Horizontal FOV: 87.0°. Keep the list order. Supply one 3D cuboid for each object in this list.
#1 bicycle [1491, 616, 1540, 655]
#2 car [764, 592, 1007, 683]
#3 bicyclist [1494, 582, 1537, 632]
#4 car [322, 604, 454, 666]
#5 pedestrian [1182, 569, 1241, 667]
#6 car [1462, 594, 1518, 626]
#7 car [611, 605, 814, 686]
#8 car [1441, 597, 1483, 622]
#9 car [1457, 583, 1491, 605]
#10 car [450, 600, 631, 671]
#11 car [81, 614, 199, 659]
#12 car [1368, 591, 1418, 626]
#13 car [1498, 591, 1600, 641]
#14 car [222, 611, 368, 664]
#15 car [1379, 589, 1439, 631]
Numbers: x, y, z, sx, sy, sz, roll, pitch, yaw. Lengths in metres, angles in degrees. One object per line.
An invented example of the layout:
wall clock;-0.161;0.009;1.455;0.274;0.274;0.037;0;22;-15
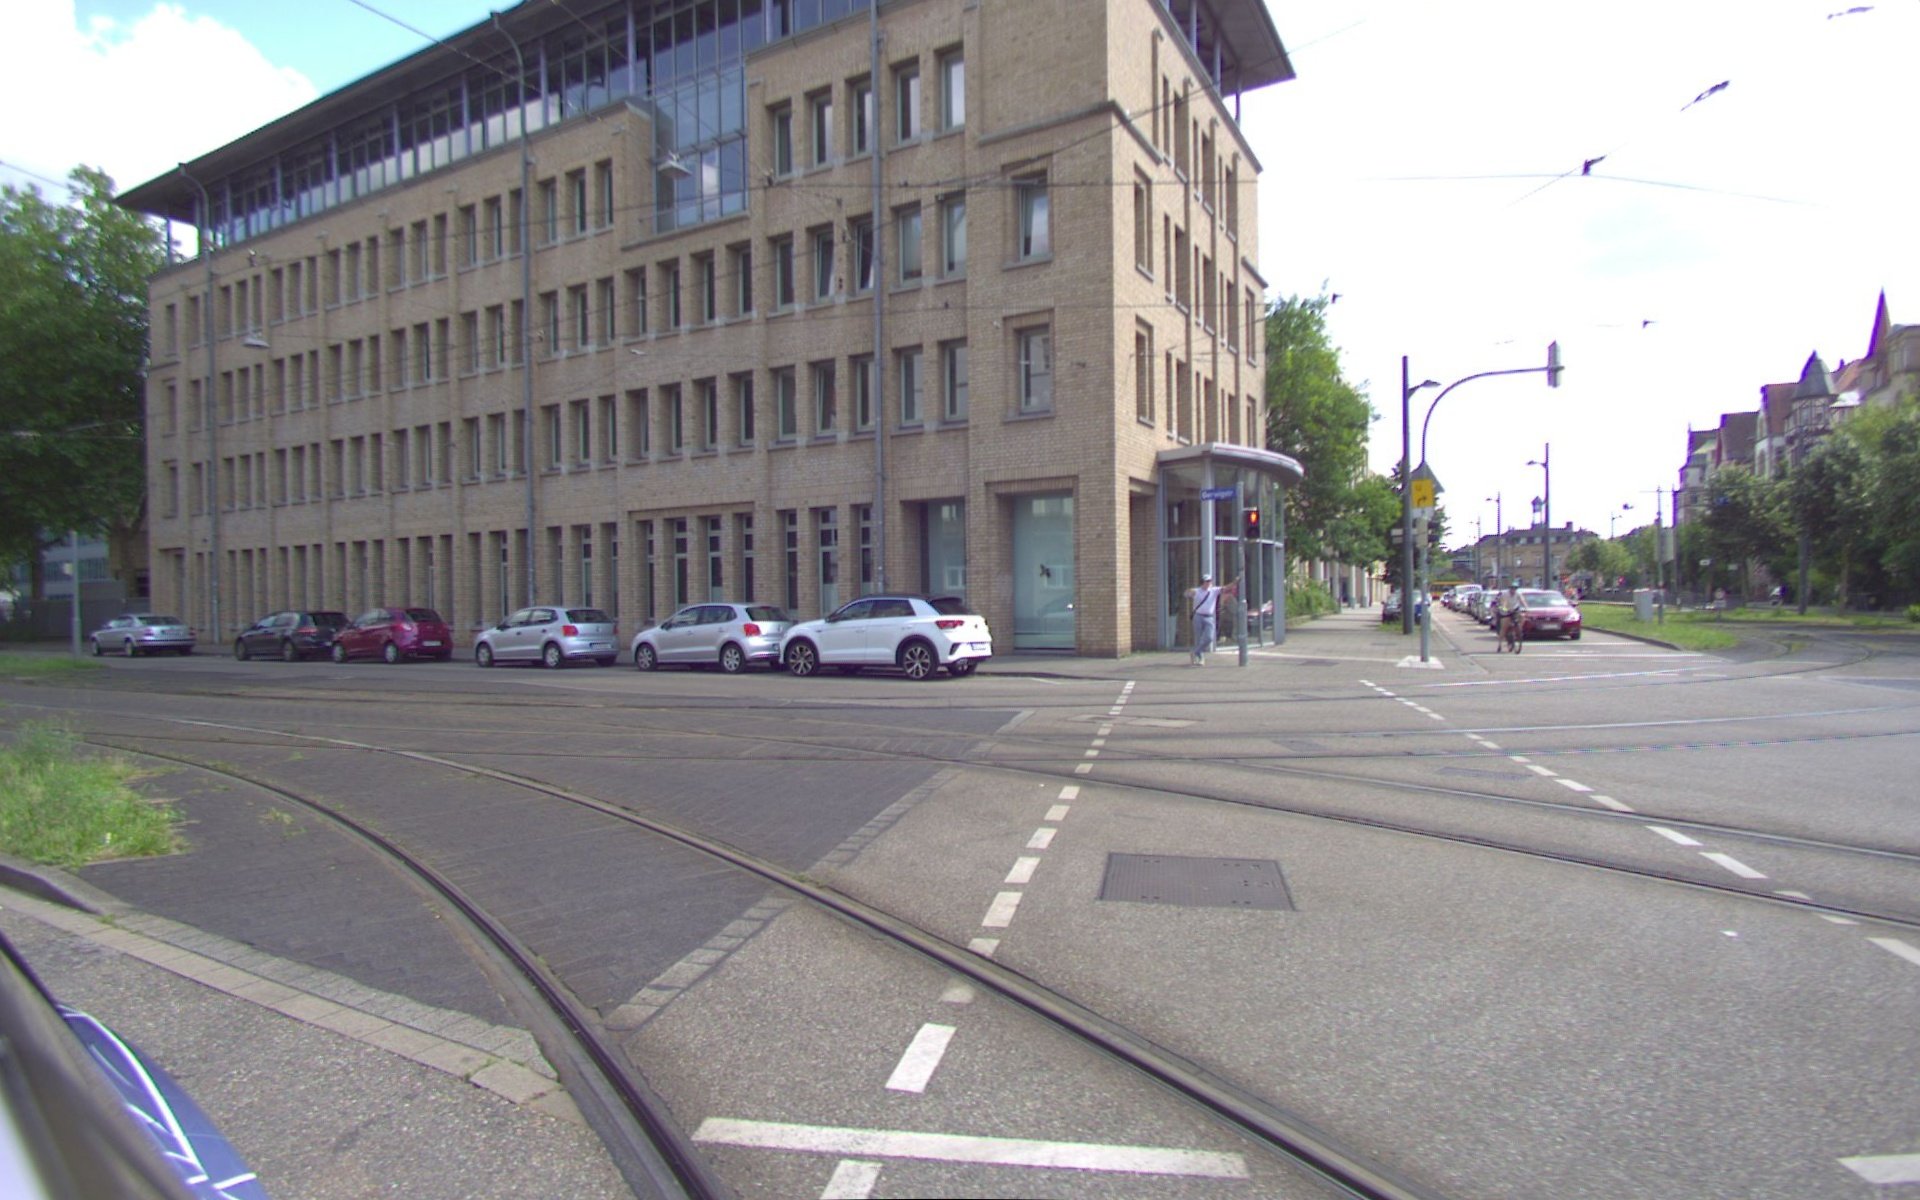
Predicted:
bicycle;13.200;0.819;24.084;0.713;0.833;2.133;-1;0;21
car;-1.436;0.661;19.015;4.242;1.546;1.919;-1;0;31
bicyclist;13.195;0.160;24.061;0.770;1.156;0.892;-1;0;21
car;-15.368;0.911;27.157;3.536;1.542;1.571;-1;0;31
pedestrian;4.759;0.332;19.173;0.948;1.809;0.761;-1;0;5
car;23.060;0.412;44.113;1.815;1.298;3.969;-1;0;23
car;-5.263;0.920;21.415;4.000;1.542;1.919;-1;0;31
car;27.277;0.497;55.091;1.815;1.298;3.969;-1;0;23
car;38.734;-0.473;76.352;1.987;1.564;3.970;-1;0;23
car;-9.919;0.809;23.879;4.195;1.542;1.837;-1;0;31
car;-27.850;1.225;34.334;4.468;1.406;1.703;-1;0;31
car;20.422;0.367;47.860;1.877;1.584;3.974;-1;0;20
car;17.318;0.441;29.953;1.877;1.386;3.974;-1;0;20
car;-19.264;1.059;29.286;4.224;1.406;1.919;-1;0;31
car;17.798;0.371;40.258;1.877;1.584;3.974;-1;0;20
